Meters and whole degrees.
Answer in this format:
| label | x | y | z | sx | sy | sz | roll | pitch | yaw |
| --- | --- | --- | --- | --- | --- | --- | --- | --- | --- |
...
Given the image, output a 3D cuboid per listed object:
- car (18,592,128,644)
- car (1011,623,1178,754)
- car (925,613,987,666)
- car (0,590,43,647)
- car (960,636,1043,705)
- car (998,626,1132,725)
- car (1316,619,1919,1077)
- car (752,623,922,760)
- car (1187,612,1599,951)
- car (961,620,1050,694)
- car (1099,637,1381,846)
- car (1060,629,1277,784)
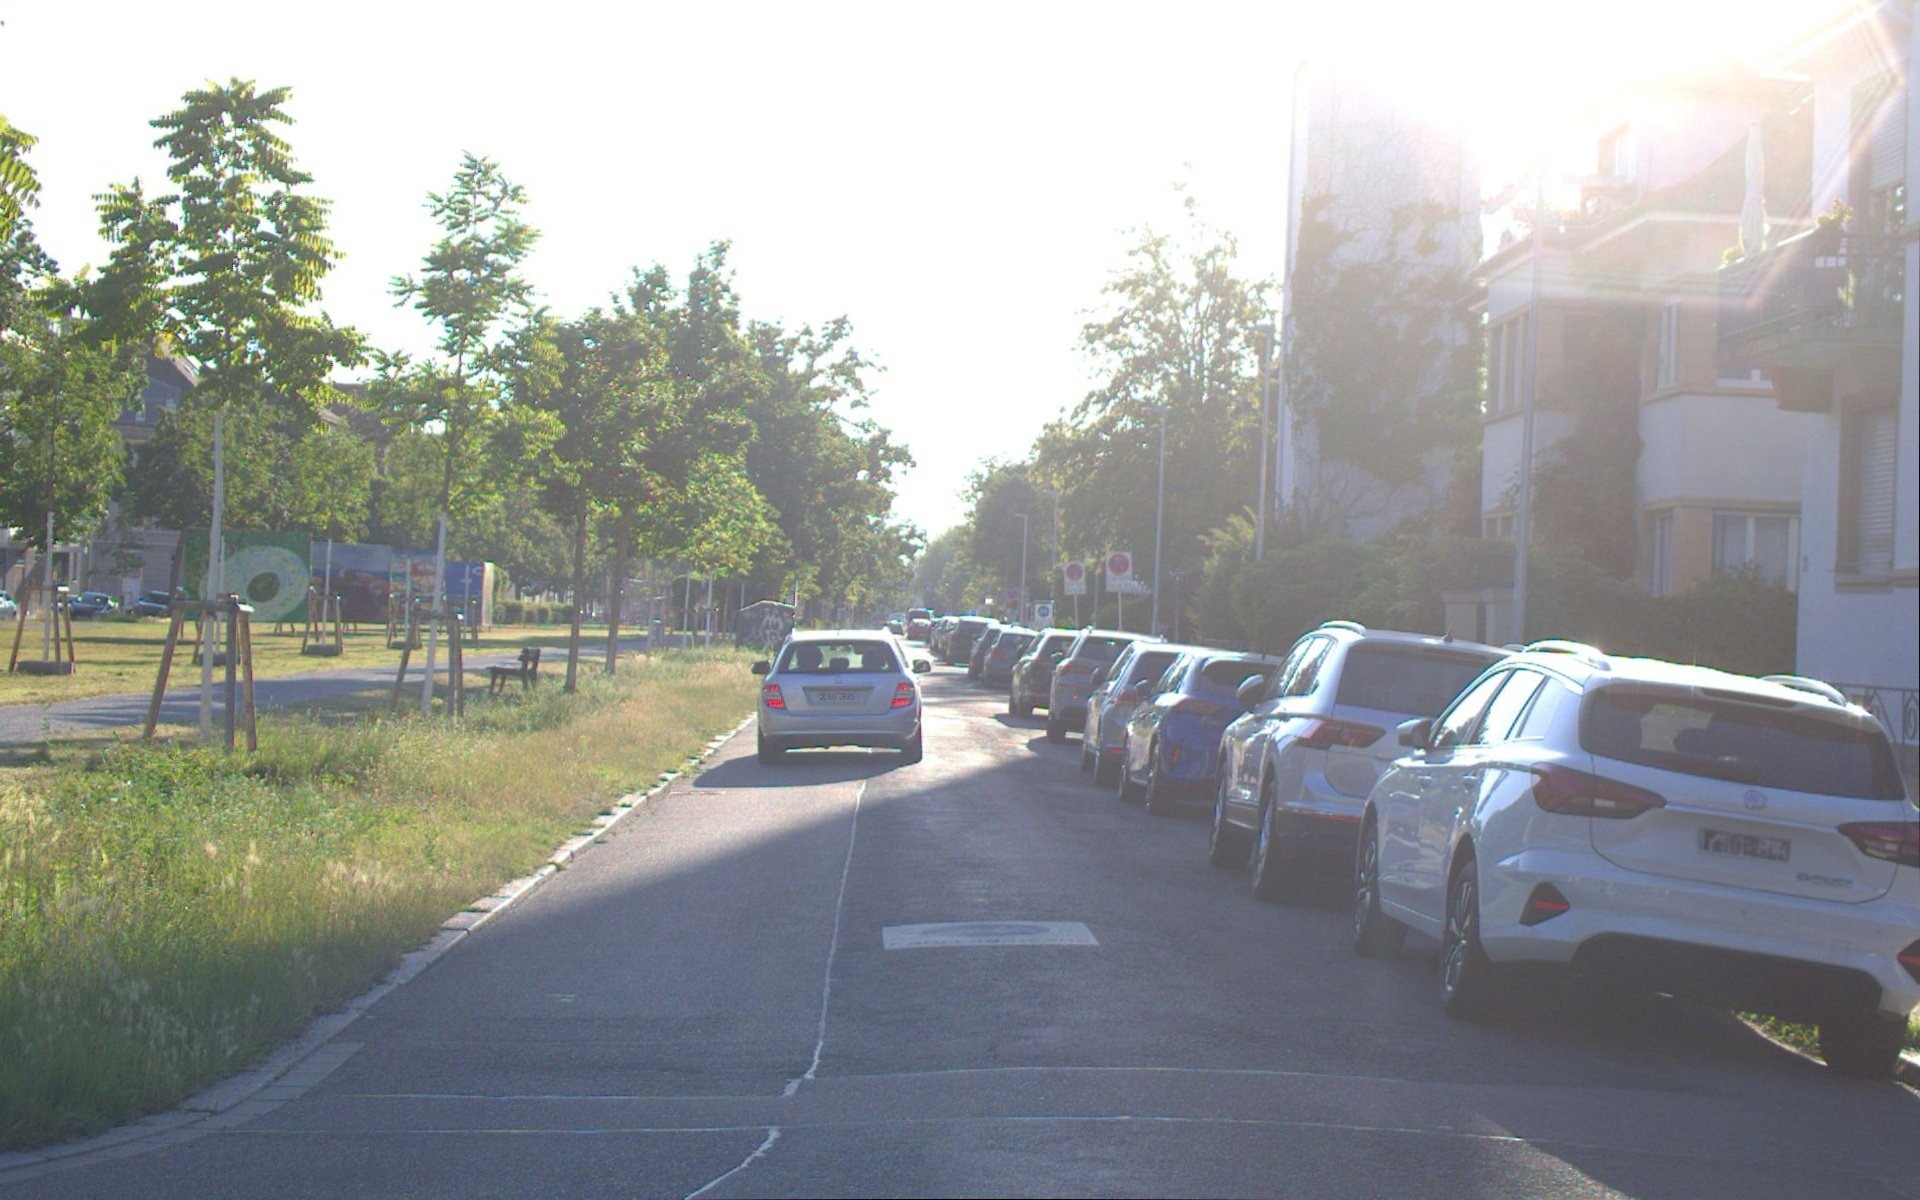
| label | x | y | z | sx | sy | sz | roll | pitch | yaw |
| --- | --- | --- | --- | --- | --- | --- | --- | --- | --- |
| car | -38.335 | 0.803 | 148.751 | 3.160 | 2.141 | 6.109 | 1 | -1 | 0 |
| car | 1.718 | 1.126 | 45.180 | 1.761 | 1.516 | 4.000 | 5 | -1 | -2 |
| car | -0.132 | 1.338 | 116.488 | 1.980 | 1.677 | 4.000 | 3 | -1 | 0 |
| car | -37.477 | 0.696 | 131.031 | 3.160 | 2.141 | 6.892 | 1 | -1 | 0 |
| car | 1.048 | 1.798 | 88.181 | 1.993 | 1.624 | 4.000 | 3 | -1 | 0 |
| car | 1.669 | 1.208 | 56.007 | 1.993 | 1.459 | 4.000 | 3 | -1 | 0 |
| car | 2.759 | 0.928 | 14.809 | 1.758 | 1.599 | 4.359 | 3 | 0 | -2 |
| car | -1.362 | 0.963 | 37.830 | 1.760 | 1.415 | 4.000 | 0 | 0 | -2 |
| car | 2.498 | 1.003 | 20.791 | 1.685 | 1.645 | 4.100 | 7 | -1 | -1 |
| car | 1.053 | 1.346 | 81.827 | 1.993 | 1.624 | 4.000 | 3 | -1 | 0 |
| car | 2.336 | 1.161 | 29.643 | 1.761 | 1.415 | 4.000 | 8 | -1 | -2 |
| car | 2.075 | 1.042 | 35.165 | 1.760 | 1.415 | 4.000 | 3 | 0 | -2 |
